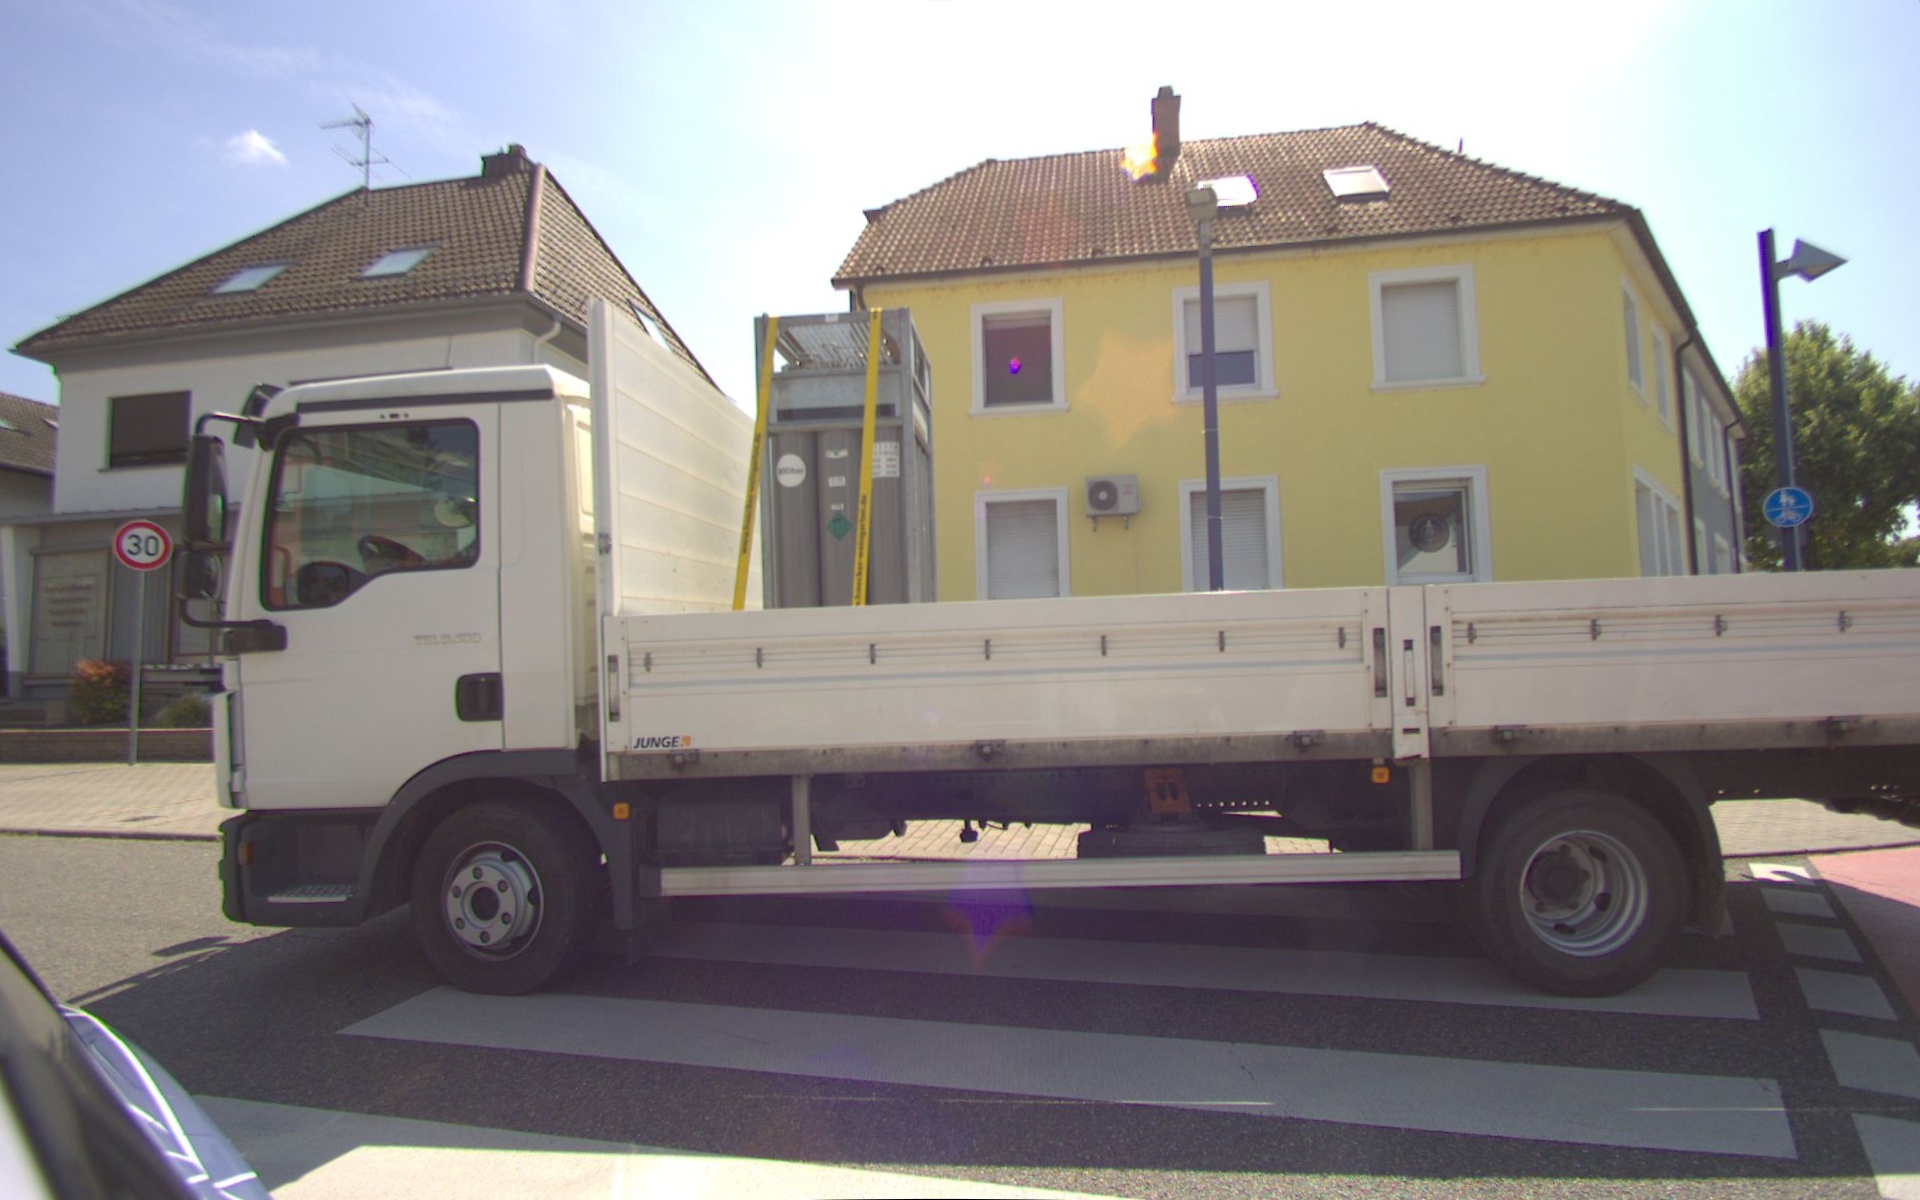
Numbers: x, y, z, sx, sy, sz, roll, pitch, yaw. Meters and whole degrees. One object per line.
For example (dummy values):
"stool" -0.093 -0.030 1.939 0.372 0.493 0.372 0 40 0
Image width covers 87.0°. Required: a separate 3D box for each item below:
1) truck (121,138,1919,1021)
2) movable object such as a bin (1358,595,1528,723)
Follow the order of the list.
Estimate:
"truck" 1.016 -0.024 4.768 7.963 2.899 2.616 -1 -2 2
"movable object such as a bin" 4.899 0.603 10.349 1.258 1.223 0.842 -1 -4 -1
